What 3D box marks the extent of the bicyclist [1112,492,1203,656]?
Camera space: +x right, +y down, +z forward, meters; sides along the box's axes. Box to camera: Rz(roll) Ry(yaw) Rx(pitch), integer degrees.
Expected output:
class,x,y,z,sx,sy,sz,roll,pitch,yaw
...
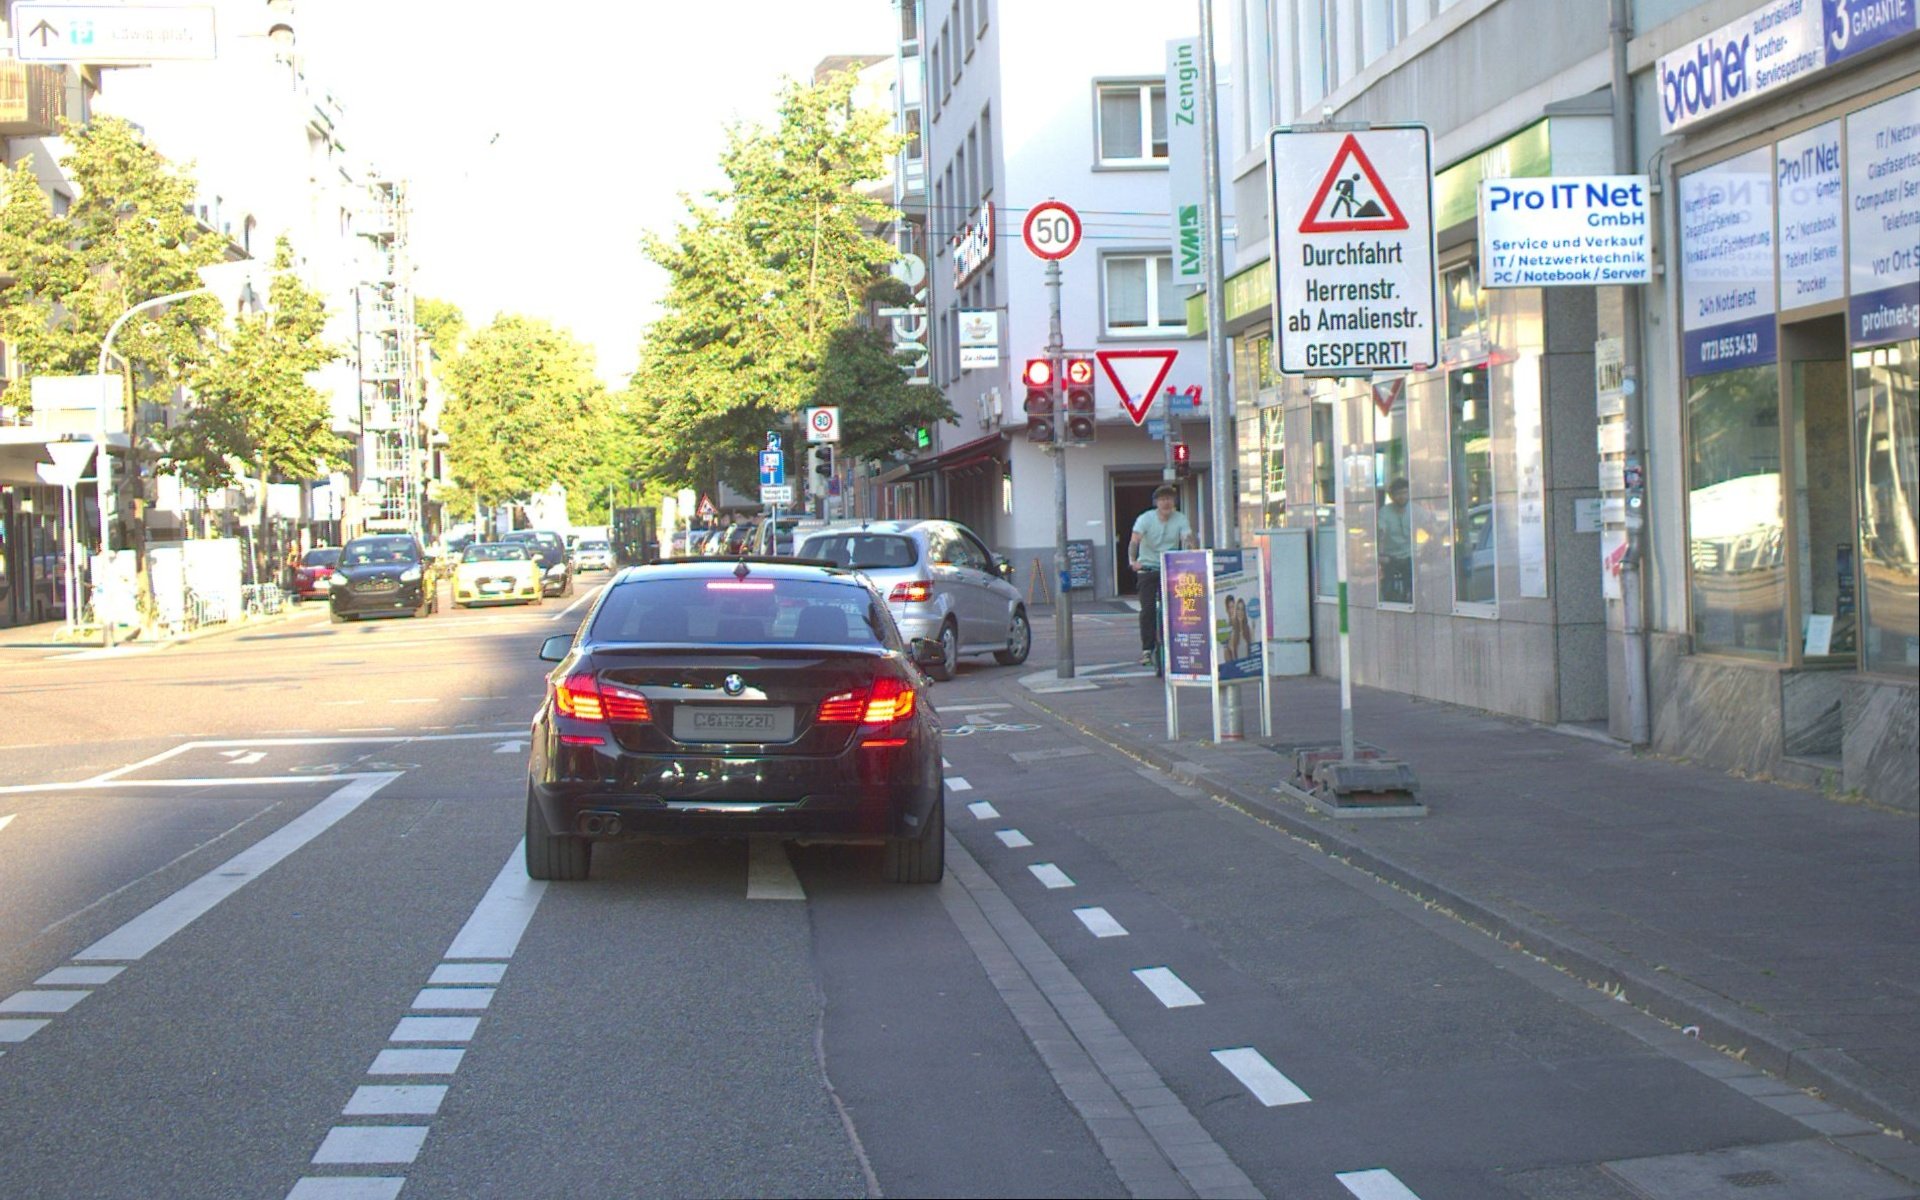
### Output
class,x,y,z,sx,sy,sz,roll,pitch,yaw
bicyclist,1.855,-0.253,32.370,0.722,1.502,0.900,-2,1,-3

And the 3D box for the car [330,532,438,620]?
class,x,y,z,sx,sy,sz,roll,pitch,yaw
car,-11.290,-0.483,67.350,1.993,1.612,4.001,-2,1,-10

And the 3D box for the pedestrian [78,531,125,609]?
class,x,y,z,sx,sy,sz,roll,pitch,yaw
pedestrian,-18.742,-0.651,75.049,0.823,1.670,0.872,-1,1,-5

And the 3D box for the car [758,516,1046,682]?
class,x,y,z,sx,sy,sz,roll,pitch,yaw
car,-0.533,-0.052,35.701,1.834,1.570,4.097,-1,1,16

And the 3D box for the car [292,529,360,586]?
class,x,y,z,sx,sy,sz,roll,pitch,yaw
car,-17.311,-1.171,93.953,1.733,1.456,4.001,-2,1,-10

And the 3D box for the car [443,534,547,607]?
class,x,y,z,sx,sy,sz,roll,pitch,yaw
car,-9.883,-0.641,72.897,1.993,1.437,4.001,-2,1,-10

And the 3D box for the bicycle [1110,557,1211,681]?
class,x,y,z,sx,sy,sz,roll,pitch,yaw
bicycle,1.872,0.162,32.325,0.690,1.103,1.896,-2,1,-4

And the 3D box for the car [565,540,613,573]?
class,x,y,z,sx,sy,sz,roll,pitch,yaw
car,-15.424,-1.818,142.807,1.733,1.288,4.001,-2,1,-10

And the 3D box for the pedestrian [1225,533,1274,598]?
class,x,y,z,sx,sy,sz,roll,pitch,yaw
pedestrian,5.231,-0.626,62.120,0.697,1.153,0.844,-2,1,-6

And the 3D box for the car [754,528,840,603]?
class,x,y,z,sx,sy,sz,roll,pitch,yaw
car,-3.339,-0.708,70.089,1.625,1.466,3.395,-1,1,-5

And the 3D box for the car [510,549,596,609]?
class,x,y,z,sx,sy,sz,roll,pitch,yaw
car,-9.463,-0.500,79.702,1.733,1.288,4.001,-2,1,-10

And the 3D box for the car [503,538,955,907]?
class,x,y,z,sx,sy,sz,roll,pitch,yaw
car,-1.175,0.477,16.758,1.903,1.535,4.451,0,1,-5

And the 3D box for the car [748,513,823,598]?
class,x,y,z,sx,sy,sz,roll,pitch,yaw
car,-3.894,-0.986,76.466,1.421,1.848,3.053,-1,1,-7
